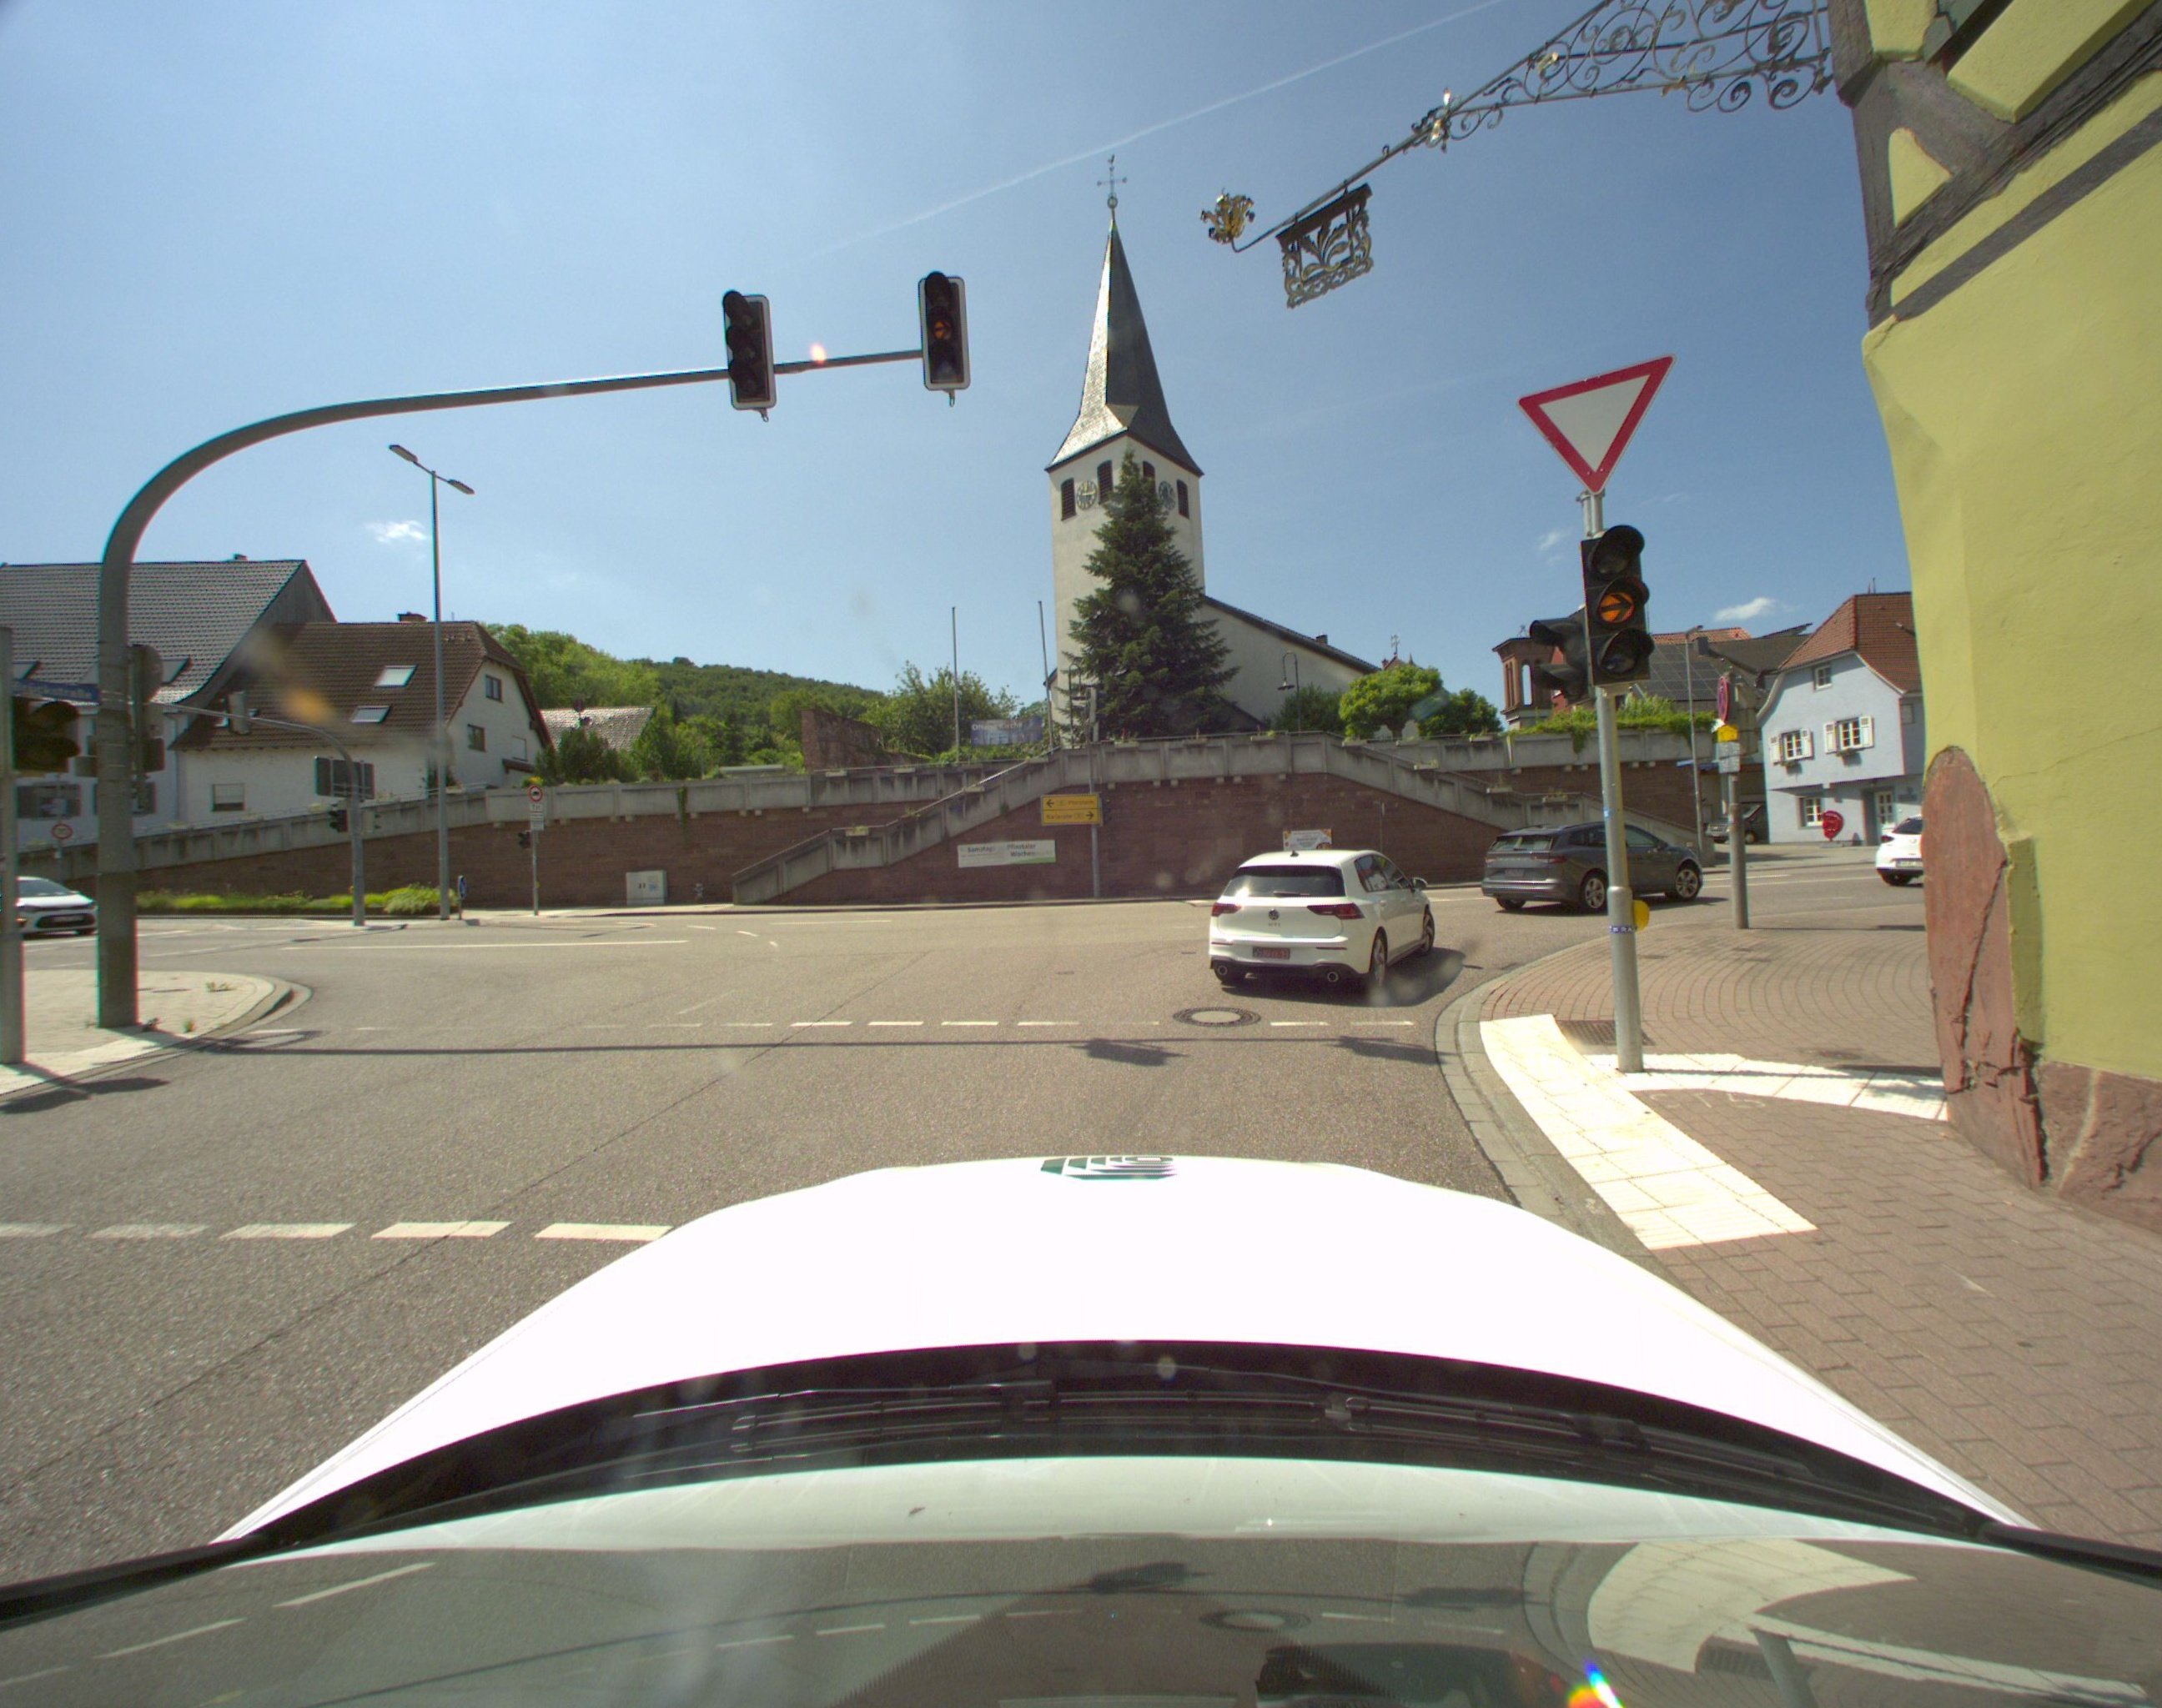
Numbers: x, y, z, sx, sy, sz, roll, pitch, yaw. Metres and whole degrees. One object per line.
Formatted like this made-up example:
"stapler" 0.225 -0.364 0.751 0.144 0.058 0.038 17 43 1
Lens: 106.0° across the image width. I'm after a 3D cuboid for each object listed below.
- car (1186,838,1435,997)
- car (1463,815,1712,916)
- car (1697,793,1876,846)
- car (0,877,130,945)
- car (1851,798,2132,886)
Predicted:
"car" 2.898 0.596 9.650 1.765 1.458 3.887 -3 -1 32
"car" 9.623 0.149 15.461 4.333 1.582 1.939 -3 1 -25
"car" 33.627 -1.584 39.043 5.938 2.014 2.532 -3 -2 11
"car" -26.304 1.389 20.021 3.966 1.479 1.868 -1 1 7
"car" 17.746 -0.230 15.970 3.847 1.458 1.784 -3 -1 -7
